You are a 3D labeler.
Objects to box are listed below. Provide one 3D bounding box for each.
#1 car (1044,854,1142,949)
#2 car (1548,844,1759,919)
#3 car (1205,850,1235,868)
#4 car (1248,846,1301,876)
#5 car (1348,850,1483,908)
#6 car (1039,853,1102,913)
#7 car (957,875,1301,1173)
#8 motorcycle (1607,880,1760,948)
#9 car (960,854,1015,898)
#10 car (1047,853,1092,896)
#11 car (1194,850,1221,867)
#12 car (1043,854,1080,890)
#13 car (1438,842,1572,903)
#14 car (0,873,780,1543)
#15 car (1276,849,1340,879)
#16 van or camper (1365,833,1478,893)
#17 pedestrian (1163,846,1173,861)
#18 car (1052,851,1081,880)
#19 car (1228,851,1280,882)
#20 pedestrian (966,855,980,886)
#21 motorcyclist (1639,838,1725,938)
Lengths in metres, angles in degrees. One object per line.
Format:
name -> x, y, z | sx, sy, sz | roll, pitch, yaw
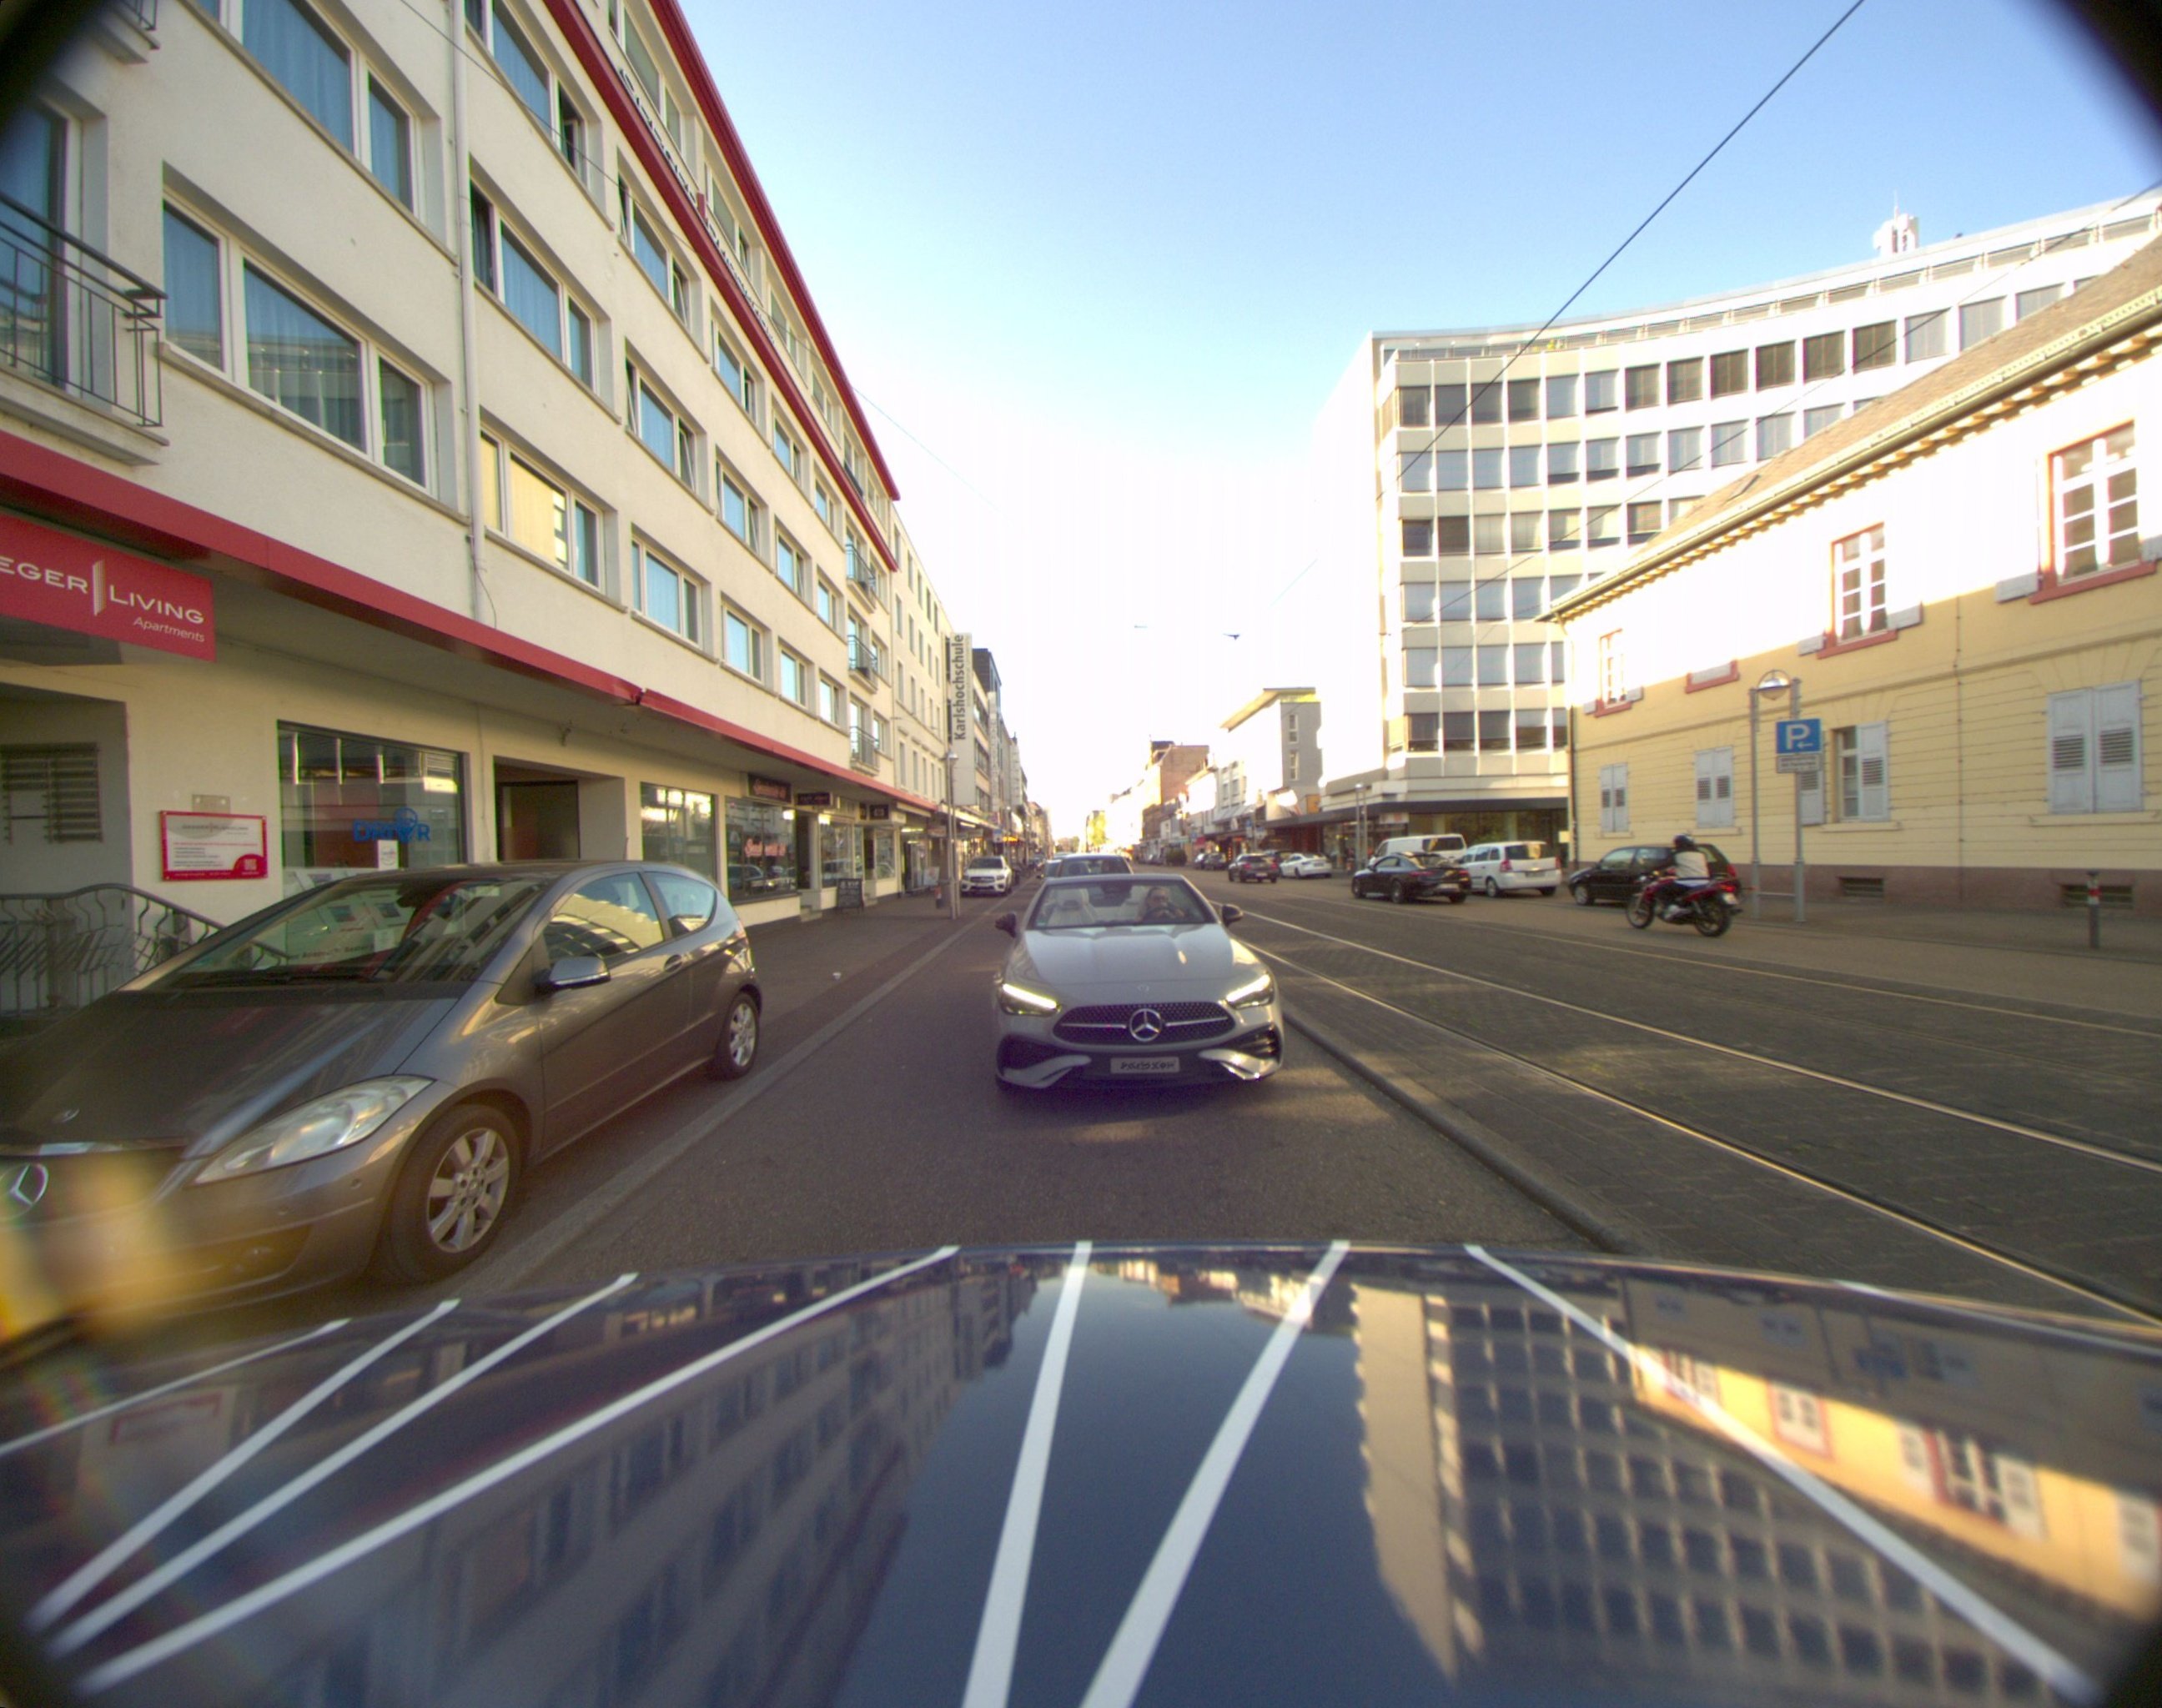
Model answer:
car -> 0.211, 0.852, 15.585 | 1.737, 1.654, 3.960 | 0, 1, 0
car -> 12.881, 0.539, 17.452 | 1.781, 1.431, 3.960 | -3, 1, 0
car -> 11.950, 0.395, 65.475 | 1.786, 1.408, 3.596 | -2, 1, -2
car -> 12.042, 0.406, 47.625 | 1.931, 1.632, 4.280 | -4, 1, -3
car -> 9.555, 0.648, 22.176 | 1.781, 1.500, 4.669 | -1, 0, -2
car -> -0.319, 0.836, 23.658 | 1.783, 1.654, 3.960 | 0, 1, 0
car -> 0.253, 0.992, 6.528 | 1.869, 1.431, 4.773 | 0, 1, 0
motorcycle -> 9.851, 0.940, 12.556 | 0.601, 0.921, 2.154 | -2, 1, -8
car -> -3.805, 0.845, 31.531 | 1.783, 1.654, 4.162 | 0, 1, 0
car -> -0.458, 0.819, 31.988 | 1.737, 1.654, 3.960 | 0, 1, 0
car -> 11.838, 0.404, 71.044 | 1.786, 1.511, 3.832 | -2, 1, -1
car -> -0.914, 0.839, 37.424 | 1.737, 1.654, 3.781 | 0, 1, 0
car -> 12.791, 0.485, 23.234 | 1.781, 1.611, 4.175 | -3, 1, 2
car -> -3.221, 0.957, 3.894 | 1.781, 1.560, 3.960 | 0, 1, 0
car -> 12.513, 0.506, 42.186 | 1.931, 1.444, 4.291 | -4, 1, -5
van or camper -> 12.752, 0.290, 28.843 | 1.960, 1.962, 4.796 | -3, 1, -2
pedestrian -> 11.202, -0.077, 98.036 | 1.010, 1.811, 1.031 | -2, 1, -13
car -> -0.857, 0.645, 46.515 | 1.737, 1.654, 3.960 | 0, 1, 0
car -> 8.723, 0.609, 38.589 | 1.781, 1.500, 3.860 | -1, 0, 0
pedestrian -> -6.567, 1.004, 46.328 | 0.706, 1.807, 0.807 | -2, 1, -3
motorcyclist -> 9.849, 0.536, 12.476 | 0.654, 1.549, 0.883 | -2, 1, -8
